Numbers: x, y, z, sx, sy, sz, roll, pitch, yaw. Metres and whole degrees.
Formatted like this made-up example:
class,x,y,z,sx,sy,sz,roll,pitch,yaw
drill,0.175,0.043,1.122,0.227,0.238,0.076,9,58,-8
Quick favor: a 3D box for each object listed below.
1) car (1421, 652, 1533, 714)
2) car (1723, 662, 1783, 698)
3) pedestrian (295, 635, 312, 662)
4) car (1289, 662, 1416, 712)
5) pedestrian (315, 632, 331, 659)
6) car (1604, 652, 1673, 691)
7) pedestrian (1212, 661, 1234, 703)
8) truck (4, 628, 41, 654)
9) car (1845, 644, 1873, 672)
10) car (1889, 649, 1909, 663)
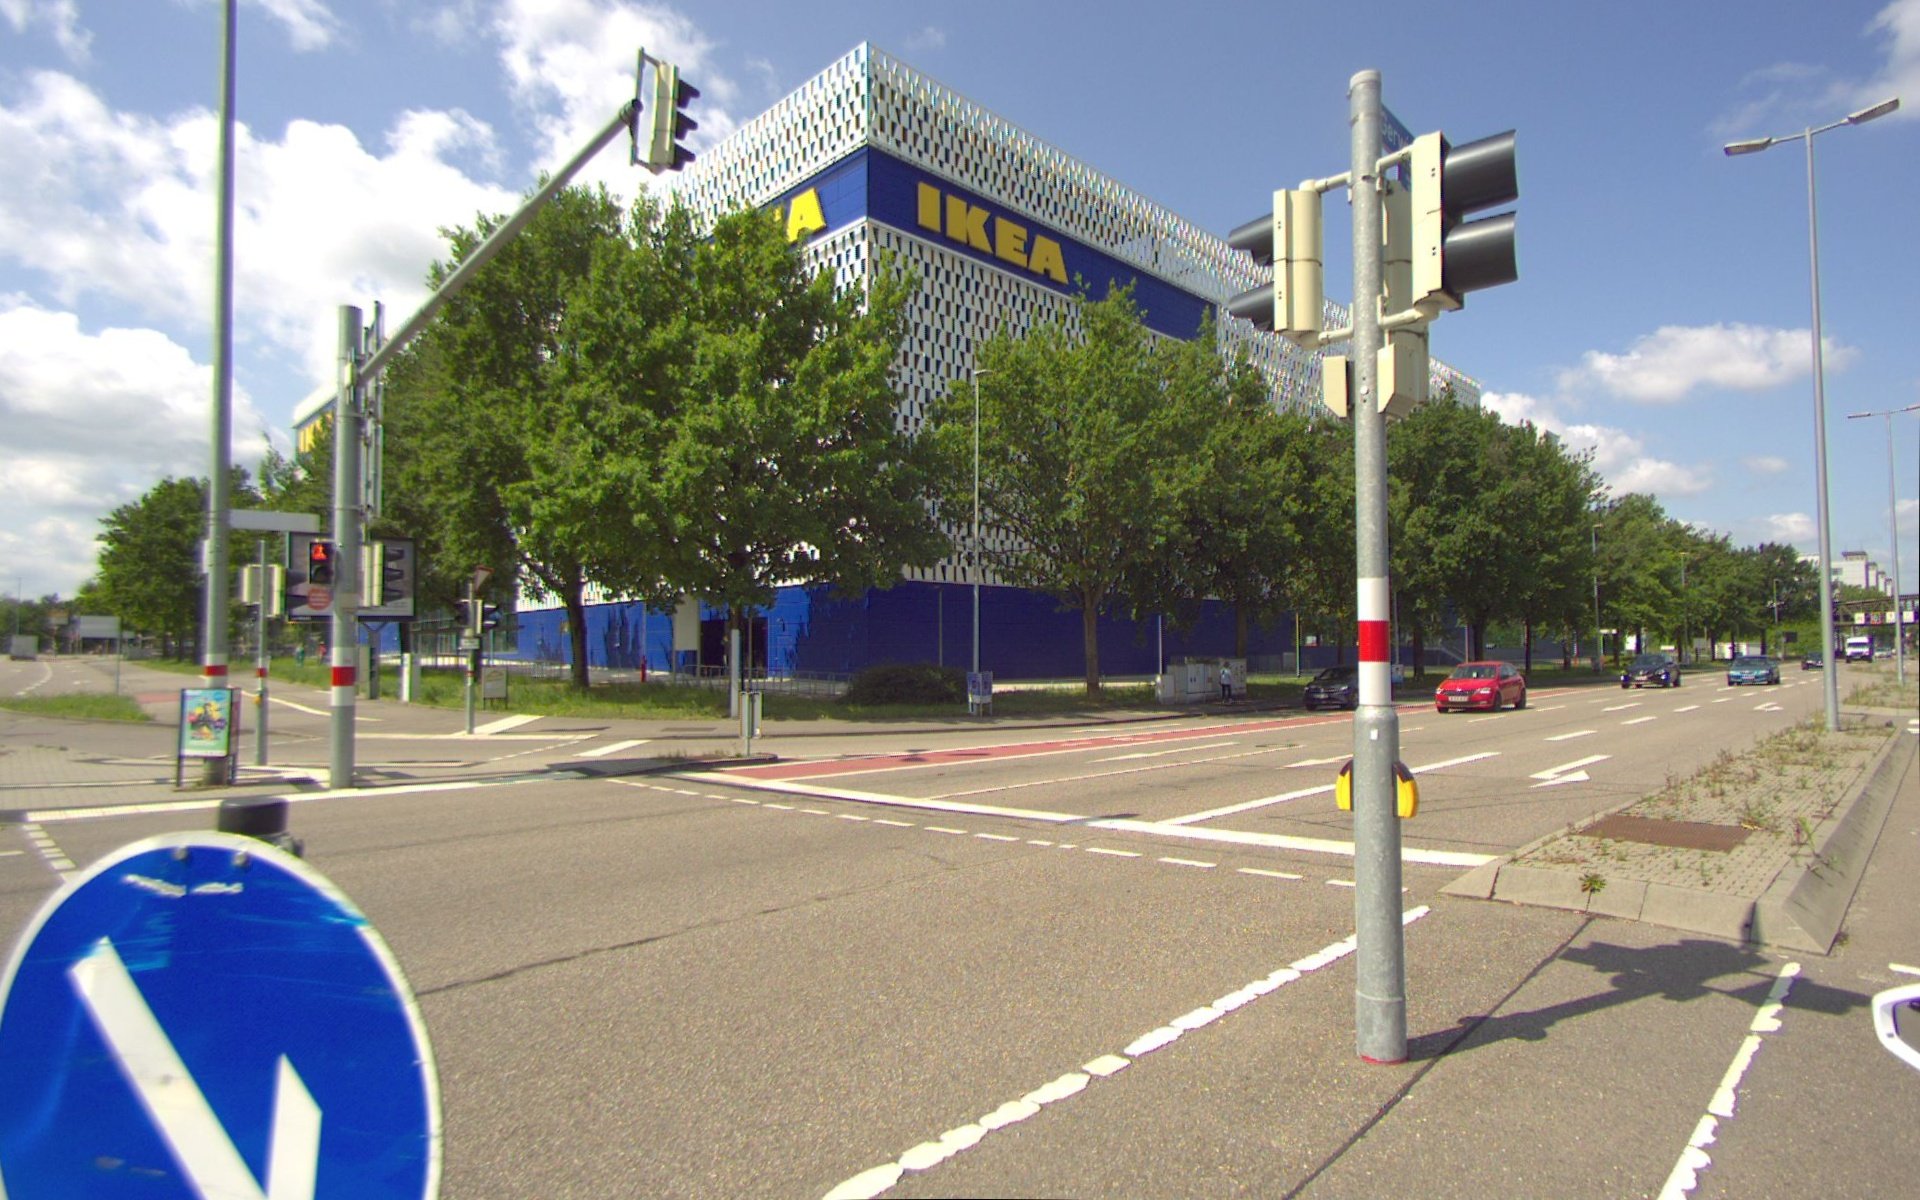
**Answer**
class,x,y,z,sx,sy,sz,roll,pitch,yaw
car,15.702,2.429,30.386,1.824,1.622,4.538,-2,-2,43
car,38.260,3.820,48.437,1.755,1.568,4.792,-6,-6,43
pedestrian,-44.675,3.281,68.348,0.847,1.751,1.152,0,-1,-38
car,13.643,2.965,34.823,4.540,1.575,1.879,2,-3,-34
pedestrian,-43.709,3.112,68.904,0.847,1.751,1.152,0,-1,-38
car,33.101,3.460,48.946,1.908,1.777,4.792,-6,-6,43
pedestrian,10.030,3.123,38.282,0.497,1.575,0.756,-3,-3,45
truck,-106.353,4.594,114.003,2.953,2.788,5.712,0,-1,-43
car,97.702,6.295,109.202,2.000,2.931,6.352,-2,-4,40
car,139.637,8.288,149.320,3.973,1.795,1.974,0,-1,-44
